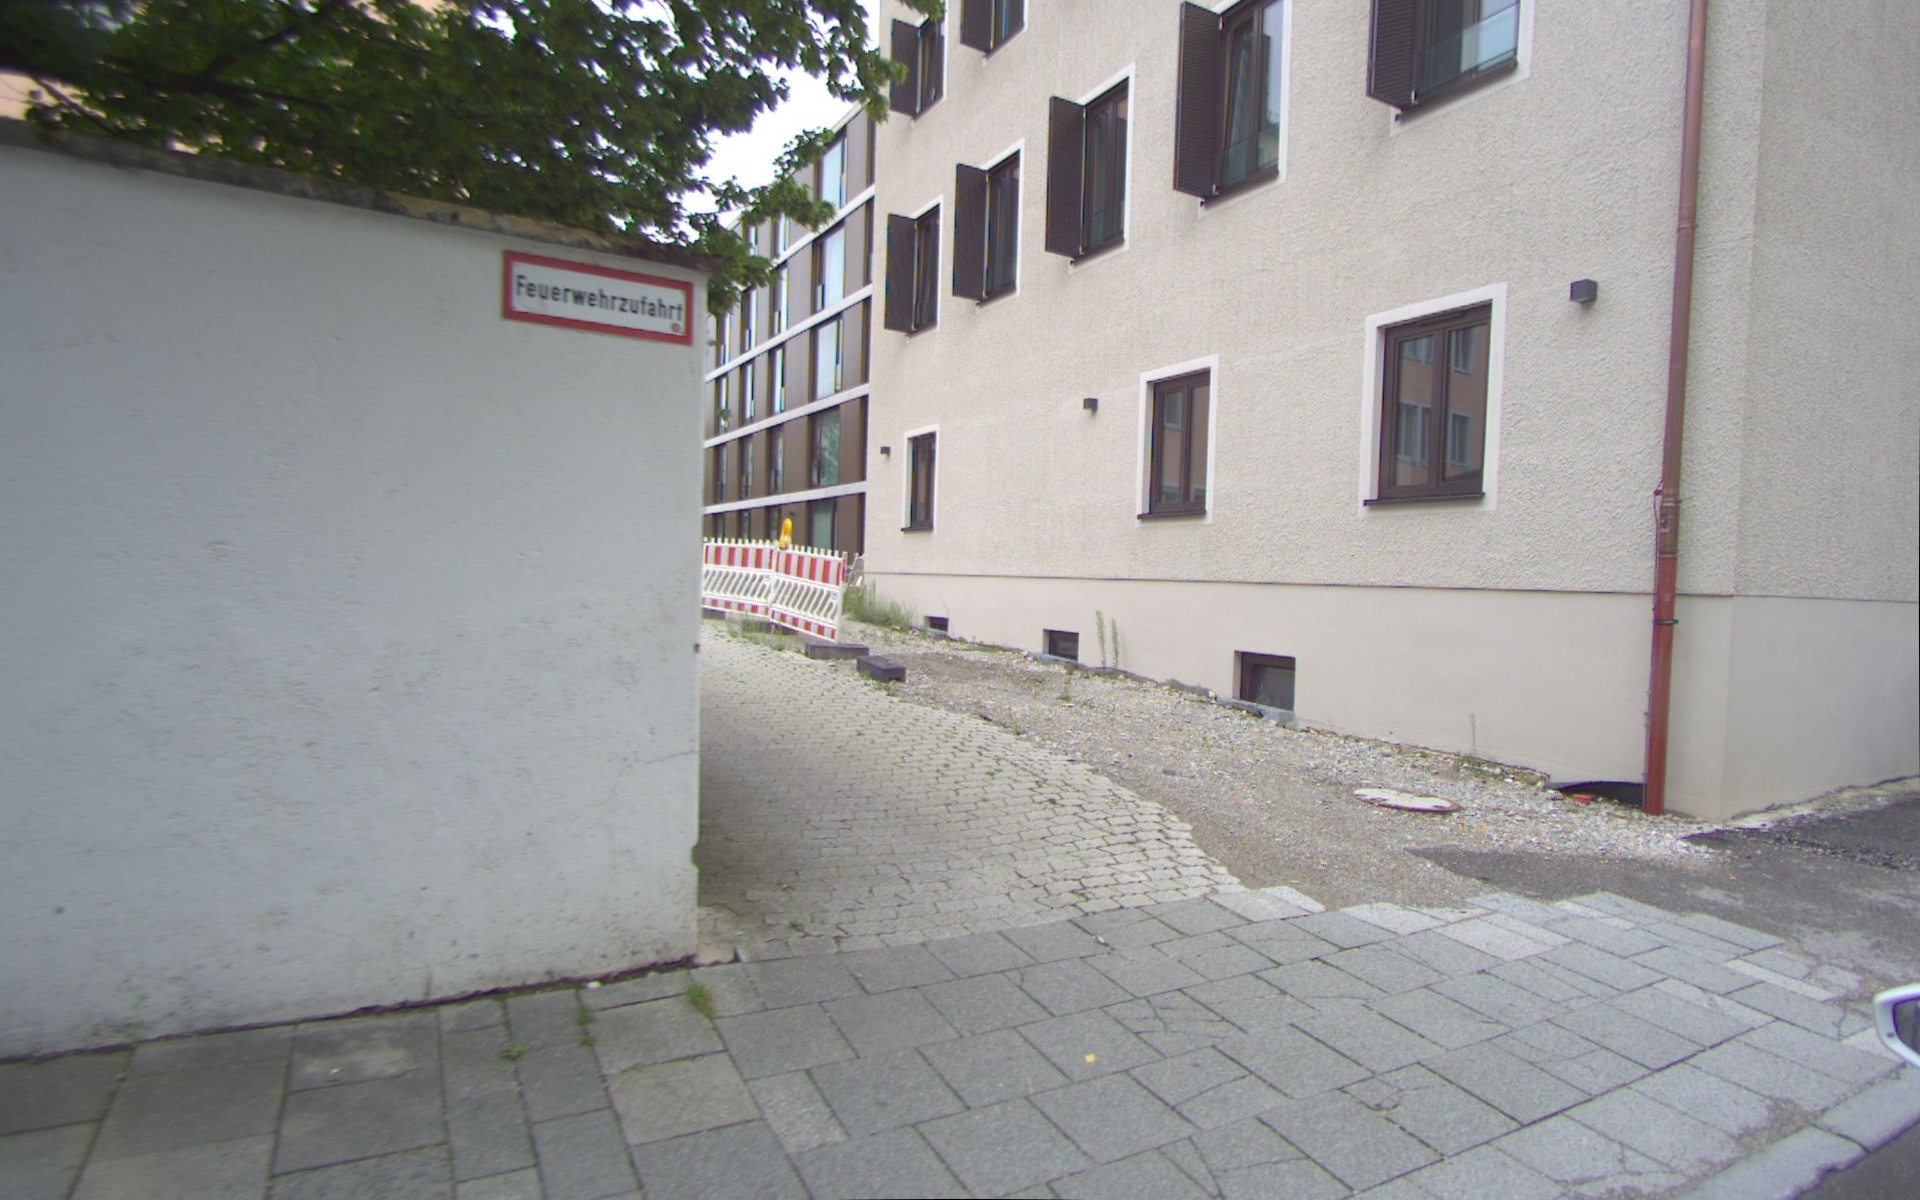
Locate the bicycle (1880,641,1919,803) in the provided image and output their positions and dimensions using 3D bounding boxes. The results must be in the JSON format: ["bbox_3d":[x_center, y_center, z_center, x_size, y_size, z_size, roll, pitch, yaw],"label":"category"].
[{"bbox_3d":[7.805,0.919,7.696,1.895,1.154,0.535,1,3,-31],"label":"bicycle"}]
